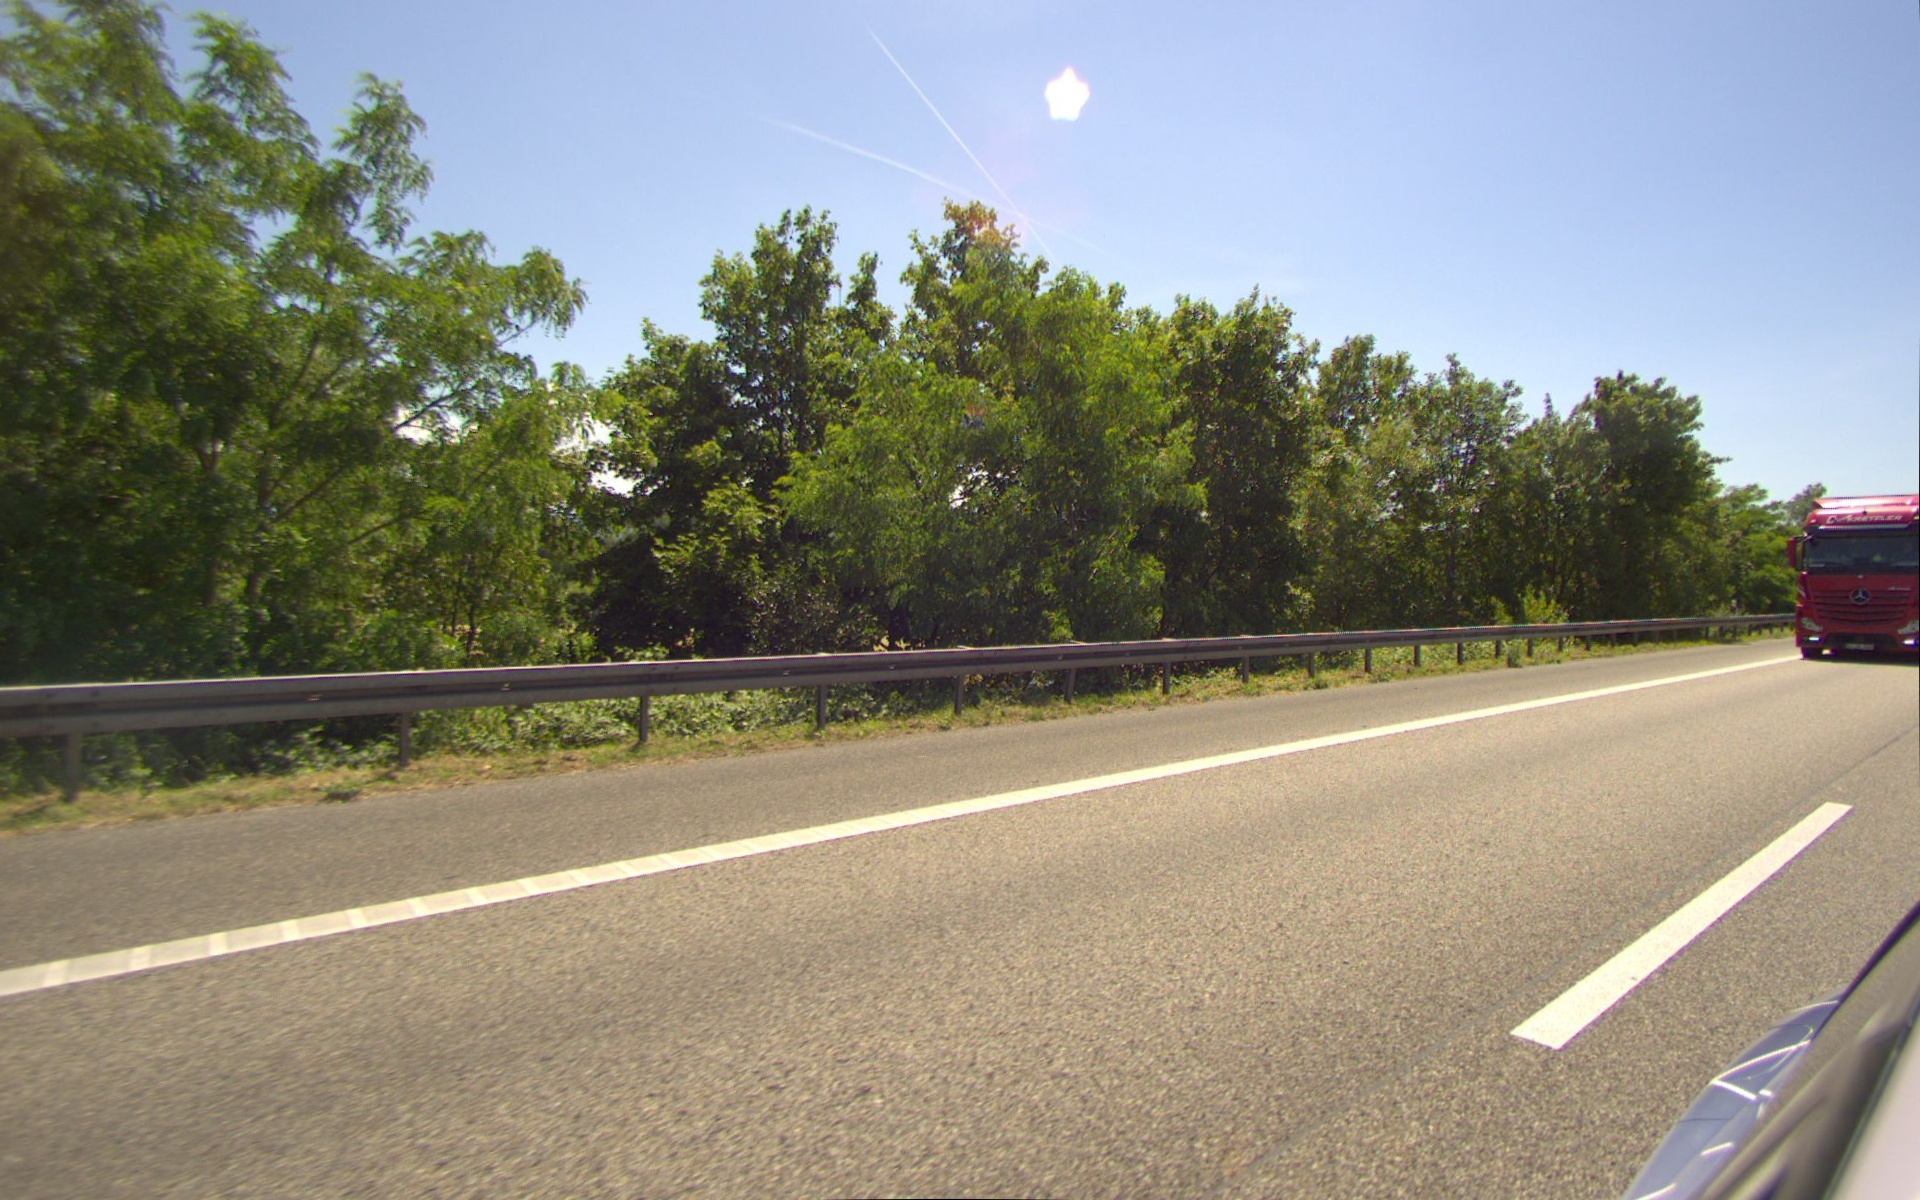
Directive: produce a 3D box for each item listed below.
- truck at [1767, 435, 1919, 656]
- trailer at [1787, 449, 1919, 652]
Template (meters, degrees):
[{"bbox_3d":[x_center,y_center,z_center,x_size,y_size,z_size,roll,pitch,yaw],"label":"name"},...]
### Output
[{"bbox_3d":[23.449,-1.201,25.761,6.847,4.951,3.241,1,0,-40],"label":"truck"},{"bbox_3d":[27.922,-1.134,29.611,13.779,4.898,3.276,1,0,-40],"label":"trailer"}]
